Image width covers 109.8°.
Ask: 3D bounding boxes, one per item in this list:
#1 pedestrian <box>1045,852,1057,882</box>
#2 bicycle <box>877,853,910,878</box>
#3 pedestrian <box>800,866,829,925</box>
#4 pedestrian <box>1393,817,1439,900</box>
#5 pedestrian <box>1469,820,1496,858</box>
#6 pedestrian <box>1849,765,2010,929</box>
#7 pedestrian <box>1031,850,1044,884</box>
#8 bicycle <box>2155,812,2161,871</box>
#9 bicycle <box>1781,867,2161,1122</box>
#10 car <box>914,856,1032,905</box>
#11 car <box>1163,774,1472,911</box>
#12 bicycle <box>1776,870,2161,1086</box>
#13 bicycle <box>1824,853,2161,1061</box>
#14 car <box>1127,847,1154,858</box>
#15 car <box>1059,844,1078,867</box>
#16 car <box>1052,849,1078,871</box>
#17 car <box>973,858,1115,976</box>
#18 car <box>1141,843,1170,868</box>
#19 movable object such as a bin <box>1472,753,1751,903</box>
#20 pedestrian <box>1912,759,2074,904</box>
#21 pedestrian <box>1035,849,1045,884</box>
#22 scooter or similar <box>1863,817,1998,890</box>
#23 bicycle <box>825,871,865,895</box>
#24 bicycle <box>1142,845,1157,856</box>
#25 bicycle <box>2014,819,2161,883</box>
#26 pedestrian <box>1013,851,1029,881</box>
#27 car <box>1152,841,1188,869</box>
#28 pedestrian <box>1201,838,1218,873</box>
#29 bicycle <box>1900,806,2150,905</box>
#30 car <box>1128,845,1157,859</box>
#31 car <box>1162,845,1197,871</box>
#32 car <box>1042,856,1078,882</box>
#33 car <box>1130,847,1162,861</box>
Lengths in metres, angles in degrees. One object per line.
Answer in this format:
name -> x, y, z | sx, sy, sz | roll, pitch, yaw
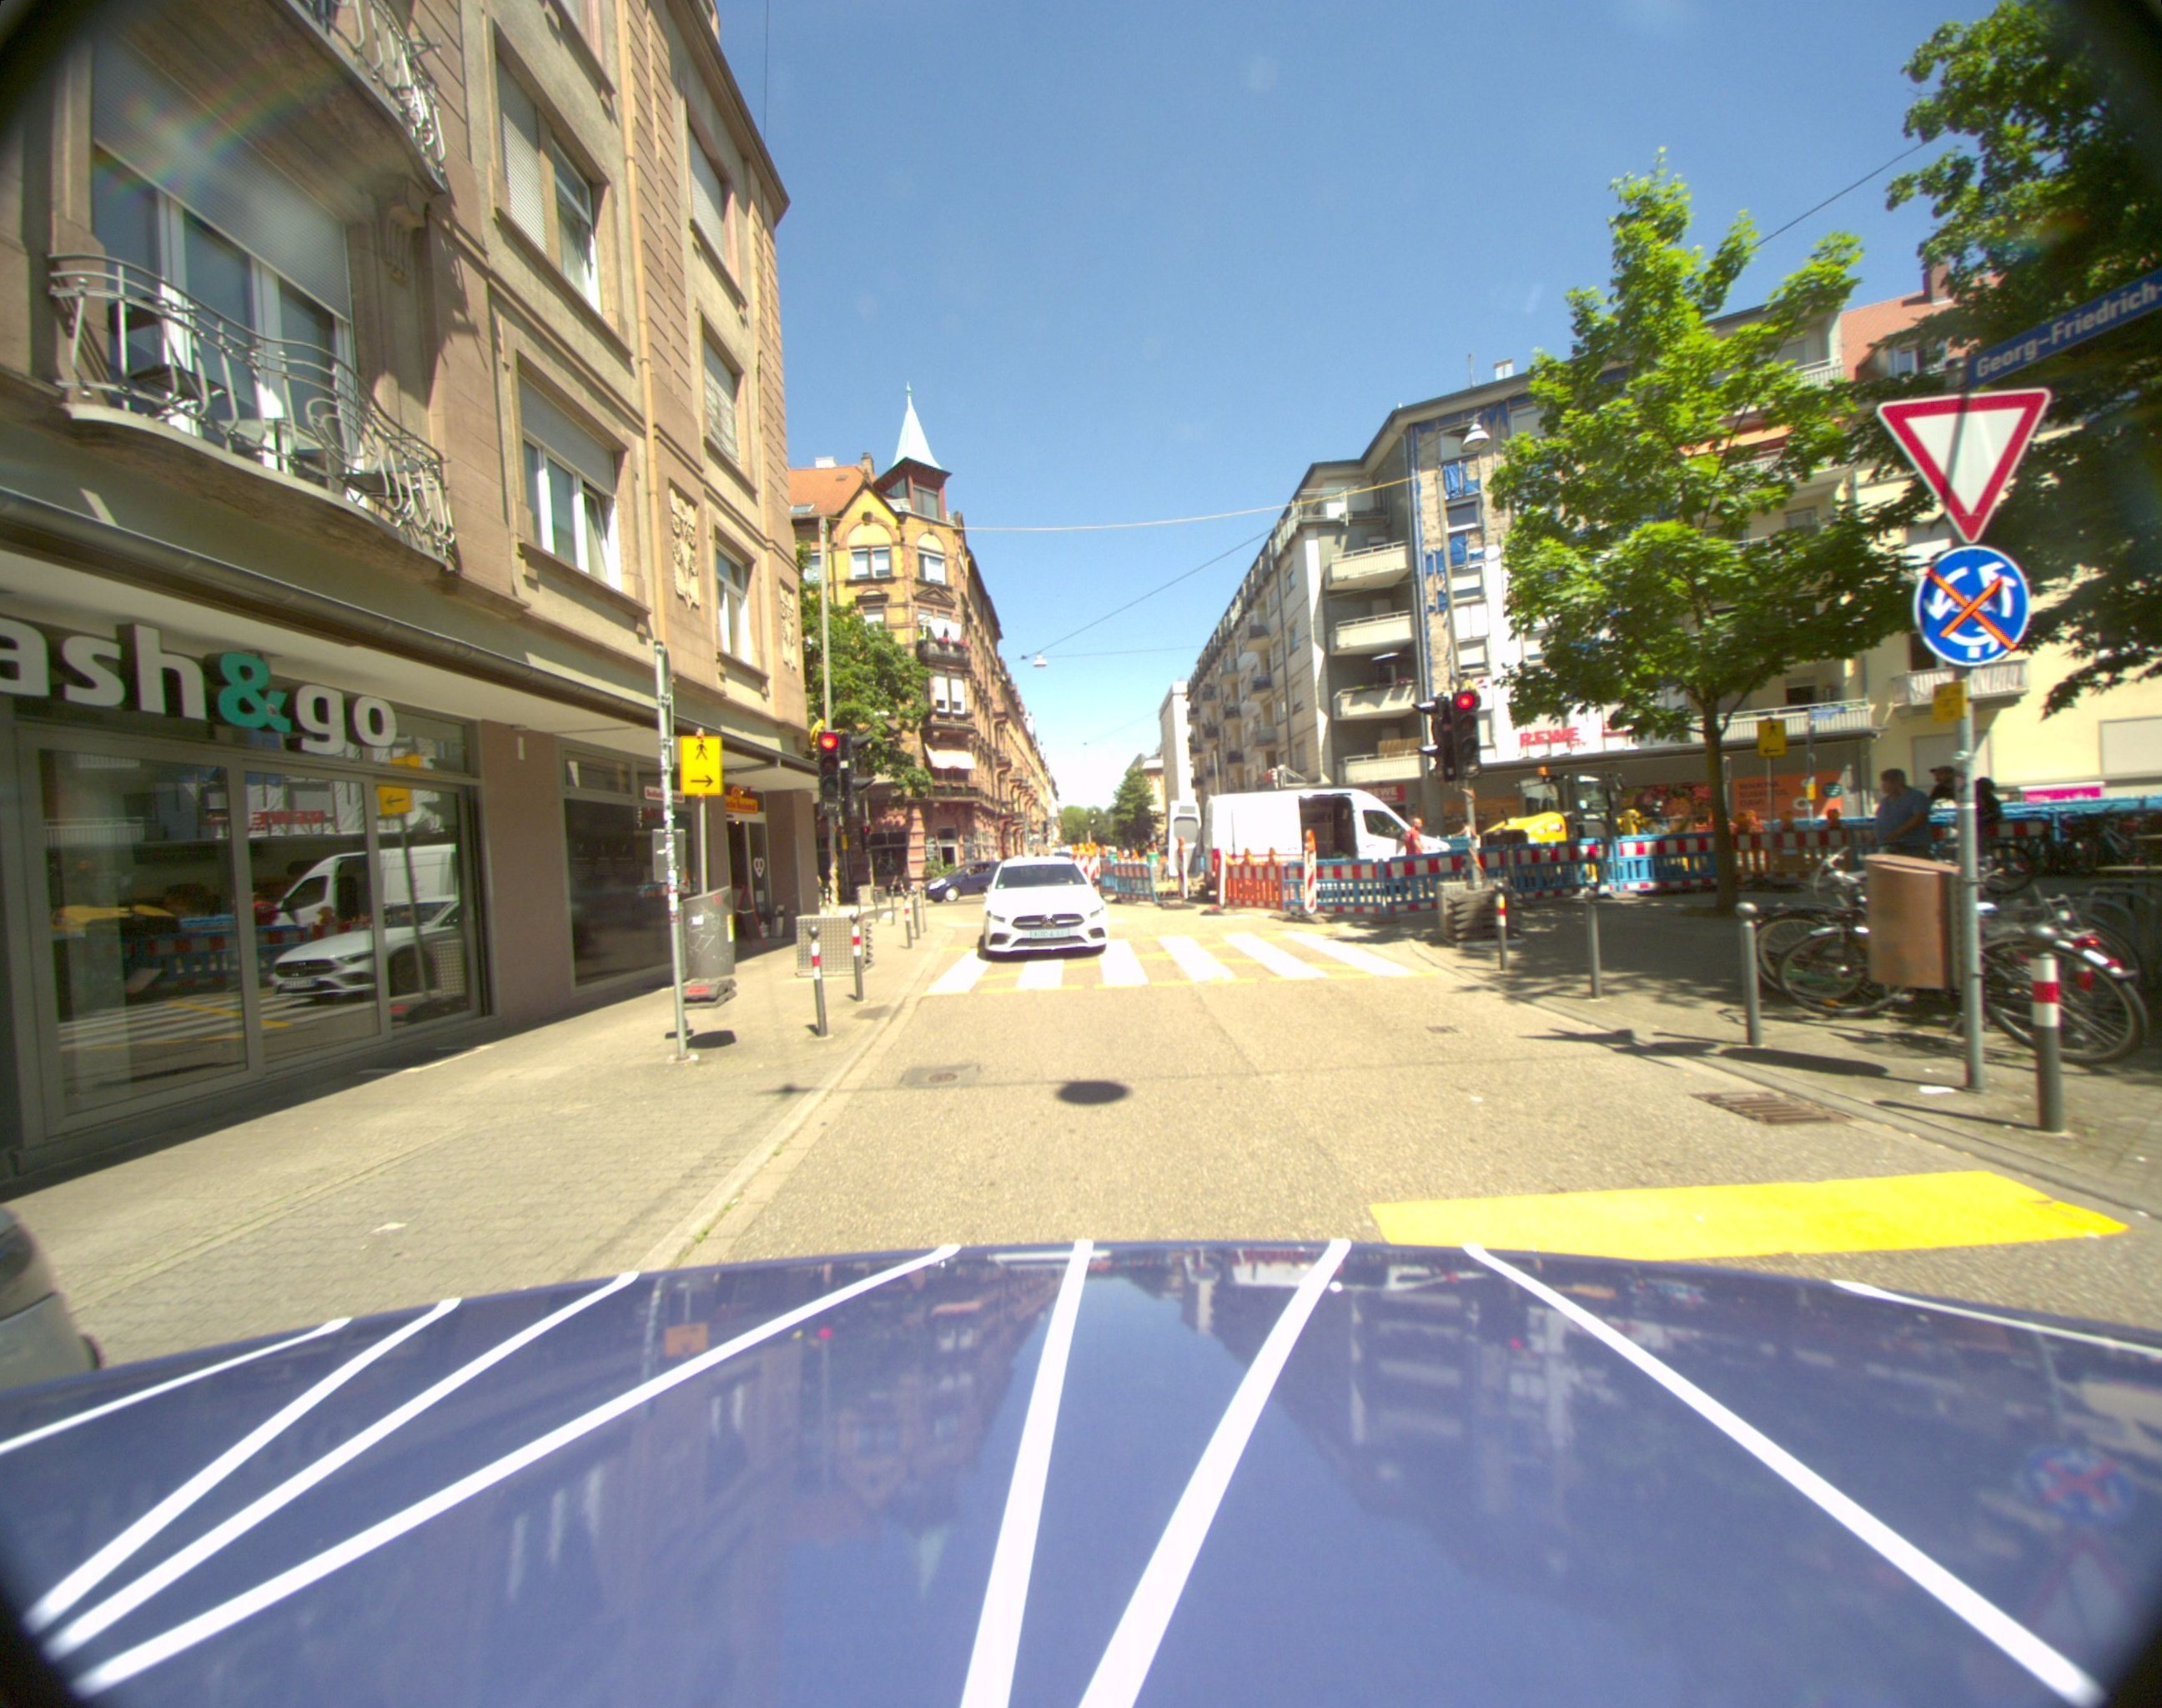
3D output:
pedestrian -> -1.552, 0.674, 39.411 | 0.494, 1.534, 0.436 | -1, 1, 6
bicycle -> -9.191, 0.573, 37.232 | 1.425, 1.145, 0.510 | -4, 1, 3
pedestrian -> -7.611, 1.177, 21.717 | 0.703, 1.635, 0.423 | -1, -3, -8
pedestrian -> 7.349, 0.098, 16.705 | 0.526, 1.744, 0.769 | -5, 1, 1
pedestrian -> 14.666, -0.545, 27.767 | 0.526, 1.332, 0.657 | -5, 1, 1
pedestrian -> 9.487, -0.075, 8.538 | 0.639, 1.694, 0.930 | -5, 1, -3
pedestrian -> -2.057, 0.618, 36.236 | 0.460, 1.551, 0.479 | -4, 1, 6
bicycle -> 18.102, -0.218, 11.849 | 0.490, 0.983, 1.814 | -4, -1, 16
bicycle -> 5.188, 0.682, 4.364 | 0.492, 1.166, 1.683 | -6, 1, -12
car -> -4.113, 0.995, 29.277 | 4.006, 1.460, 1.777 | -6, 1, -37
car -> 5.452, -0.269, 18.358 | 6.637, 2.736, 2.379 | -3, 1, 2
bicycle -> 5.687, 0.668, 4.814 | 0.492, 1.075, 1.897 | -6, 1, -12
bicycle -> 6.054, 0.588, 5.043 | 0.339, 1.150, 1.618 | -6, 1, -12
car -> 8.982, -0.234, 115.723 | 3.885, 1.487, 1.652 | -4, 0, 0
car -> -1.507, 0.148, 96.787 | 2.067, 2.687, 5.038 | -5, 1, 0
car -> -1.164, 0.374, 54.137 | 1.730, 1.424, 4.484 | -3, 0, -1
car -> -0.710, 0.850, 12.378 | 1.815, 1.417, 4.239 | -5, 1, -6
car -> 6.019, 0.092, 62.214 | 1.793, 1.818, 4.900 | -5, 0, 0
movable object such as a bin -> 10.860, -0.530, 15.706 | 4.558, 2.643, 1.953 | -4, 1, -9
pedestrian -> 12.236, -0.296, 10.236 | 1.007, 1.780, 0.865 | -5, 1, 7
pedestrian -> -2.012, 0.617, 37.670 | 0.333, 1.666, 0.402 | -4, 1, 6
scooter or similar -> 13.794, 0.000, 12.393 | 0.525, 1.099, 1.473 | -3, -1, 1
bicycle -> -11.450, 1.399, 36.850 | 1.695, 1.002, 0.522 | -4, 1, 1
bicycle -> 7.884, -0.392, 86.861 | 1.609, 1.084, 0.371 | -5, 0, 6
bicycle -> 16.450, -0.068, 12.448 | 0.490, 0.958, 1.814 | -4, 1, 16
pedestrian -> -3.559, 0.705, 45.216 | 0.478, 1.723, 0.872 | -3, 2, 19
car -> 6.492, 0.065, 55.953 | 1.793, 1.801, 4.698 | -5, 0, -2
pedestrian -> 6.508, 0.065, 38.452 | 0.658, 1.717, 0.632 | -4, 1, -2
bicycle -> 12.409, 0.024, 10.042 | 2.285, 1.080, 0.602 | -5, 1, 6
car -> 8.903, -0.339, 110.279 | 3.885, 1.737, 1.652 | -4, 0, 0
car -> 6.402, 0.228, 49.679 | 1.674, 1.516, 4.464 | -5, 0, 1
car -> -1.246, 0.877, 45.894 | 1.630, 1.424, 3.661 | -3, 0, 6
car -> 8.367, -0.009, 97.335 | 3.885, 1.520, 1.652 | -4, 0, 0
